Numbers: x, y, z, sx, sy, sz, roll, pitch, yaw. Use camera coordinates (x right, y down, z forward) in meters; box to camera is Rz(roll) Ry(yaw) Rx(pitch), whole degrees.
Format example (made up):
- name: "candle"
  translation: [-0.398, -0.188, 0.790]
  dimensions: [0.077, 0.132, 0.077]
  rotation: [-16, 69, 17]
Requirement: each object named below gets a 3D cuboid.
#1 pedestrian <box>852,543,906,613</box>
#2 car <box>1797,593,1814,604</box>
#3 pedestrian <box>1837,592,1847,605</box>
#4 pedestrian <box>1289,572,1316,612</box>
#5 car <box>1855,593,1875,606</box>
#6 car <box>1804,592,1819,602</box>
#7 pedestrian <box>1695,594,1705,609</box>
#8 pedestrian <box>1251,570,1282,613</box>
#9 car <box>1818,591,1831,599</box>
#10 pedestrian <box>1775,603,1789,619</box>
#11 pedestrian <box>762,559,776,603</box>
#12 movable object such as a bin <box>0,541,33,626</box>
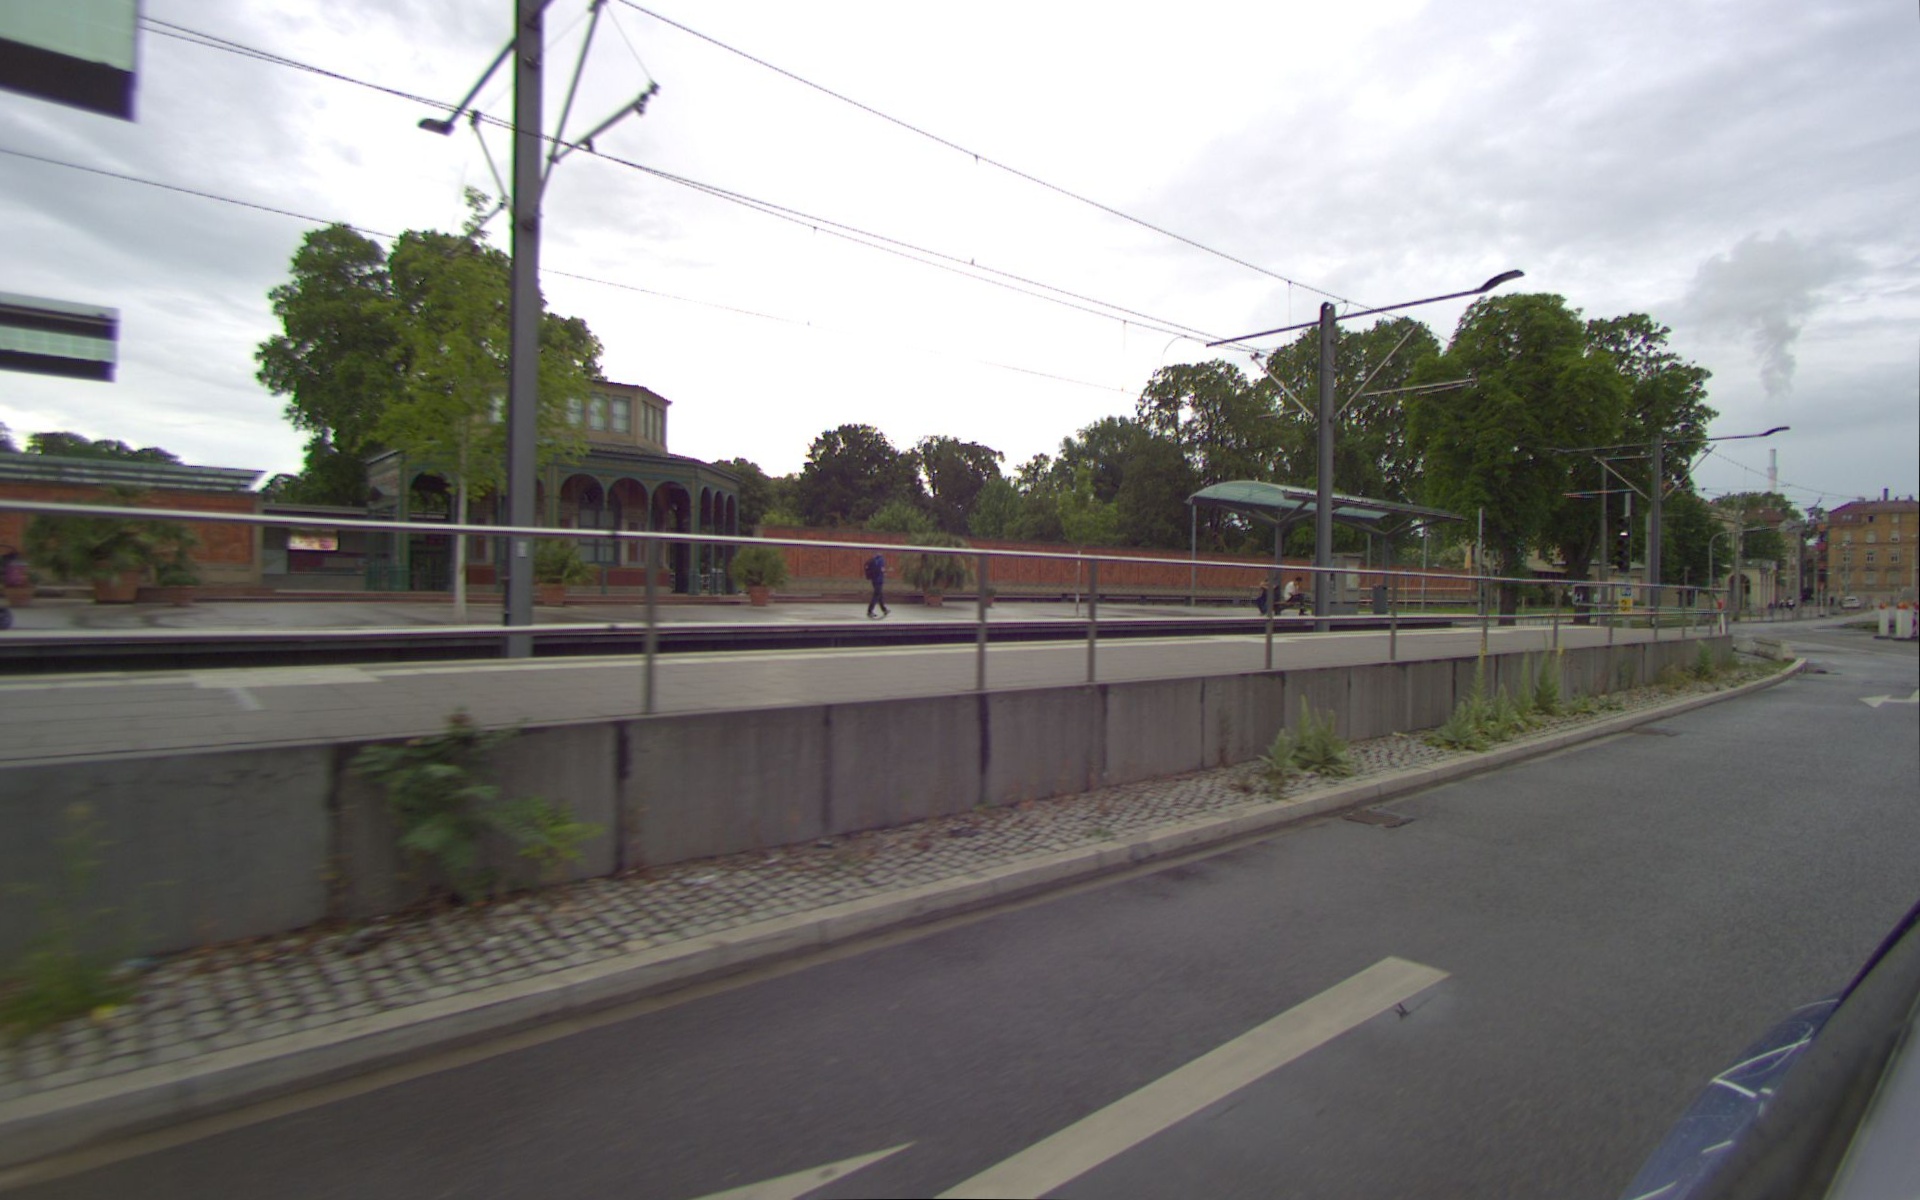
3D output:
- name: "pedestrian"
  translation: [-2.135, -0.583, 26.776]
  dimensions: [1.161, 1.812, 0.722]
  rotation: [1, 1, -41]
- name: "car"
  translation: [133.399, -0.226, 159.691]
  dimensions: [1.825, 1.602, 3.939]
  rotation: [1, 1, 42]
- name: "pedestrian"
  translation: [128.595, -0.249, 147.546]
  dimensions: [0.768, 1.830, 0.697]
  rotation: [-1, 0, 8]
- name: "pedestrian"
  translation: [10.201, -0.241, 30.169]
  dimensions: [0.597, 1.133, 0.514]
  rotation: [-4, -3, 33]
- name: "car"
  translation: [125.825, -0.122, 140.732]
  dimensions: [1.838, 1.661, 4.077]
  rotation: [-4, -2, 44]
- name: "car"
  translation: [140.860, -0.492, 167.378]
  dimensions: [1.825, 1.602, 3.939]
  rotation: [1, 1, 42]
- name: "pedestrian"
  translation: [86.535, 0.174, 118.290]
  dimensions: [0.964, 1.732, 0.730]
  rotation: [0, 1, -41]
- name: "pedestrian"
  translation: [9.122, -0.256, 30.139]
  dimensions: [0.518, 1.228, 0.770]
  rotation: [-5, -3, 45]
- name: "car"
  translation: [168.221, -1.021, 197.003]
  dimensions: [1.825, 1.602, 3.939]
  rotation: [1, 1, 42]
- name: "pedestrian"
  translation: [88.358, 1.170, 108.793]
  dimensions: [0.654, 1.610, 0.867]
  rotation: [1, 1, -15]
- name: "pedestrian"
  translation: [-7.314, -0.738, 38.766]
  dimensions: [0.460, 1.678, 0.552]
  rotation: [0, 0, -7]
- name: "movable object such as a bin"
  translation: [-11.725, -0.206, 12.278]
  dimensions: [0.670, 1.021, 0.438]
  rotation: [0, 1, -40]
